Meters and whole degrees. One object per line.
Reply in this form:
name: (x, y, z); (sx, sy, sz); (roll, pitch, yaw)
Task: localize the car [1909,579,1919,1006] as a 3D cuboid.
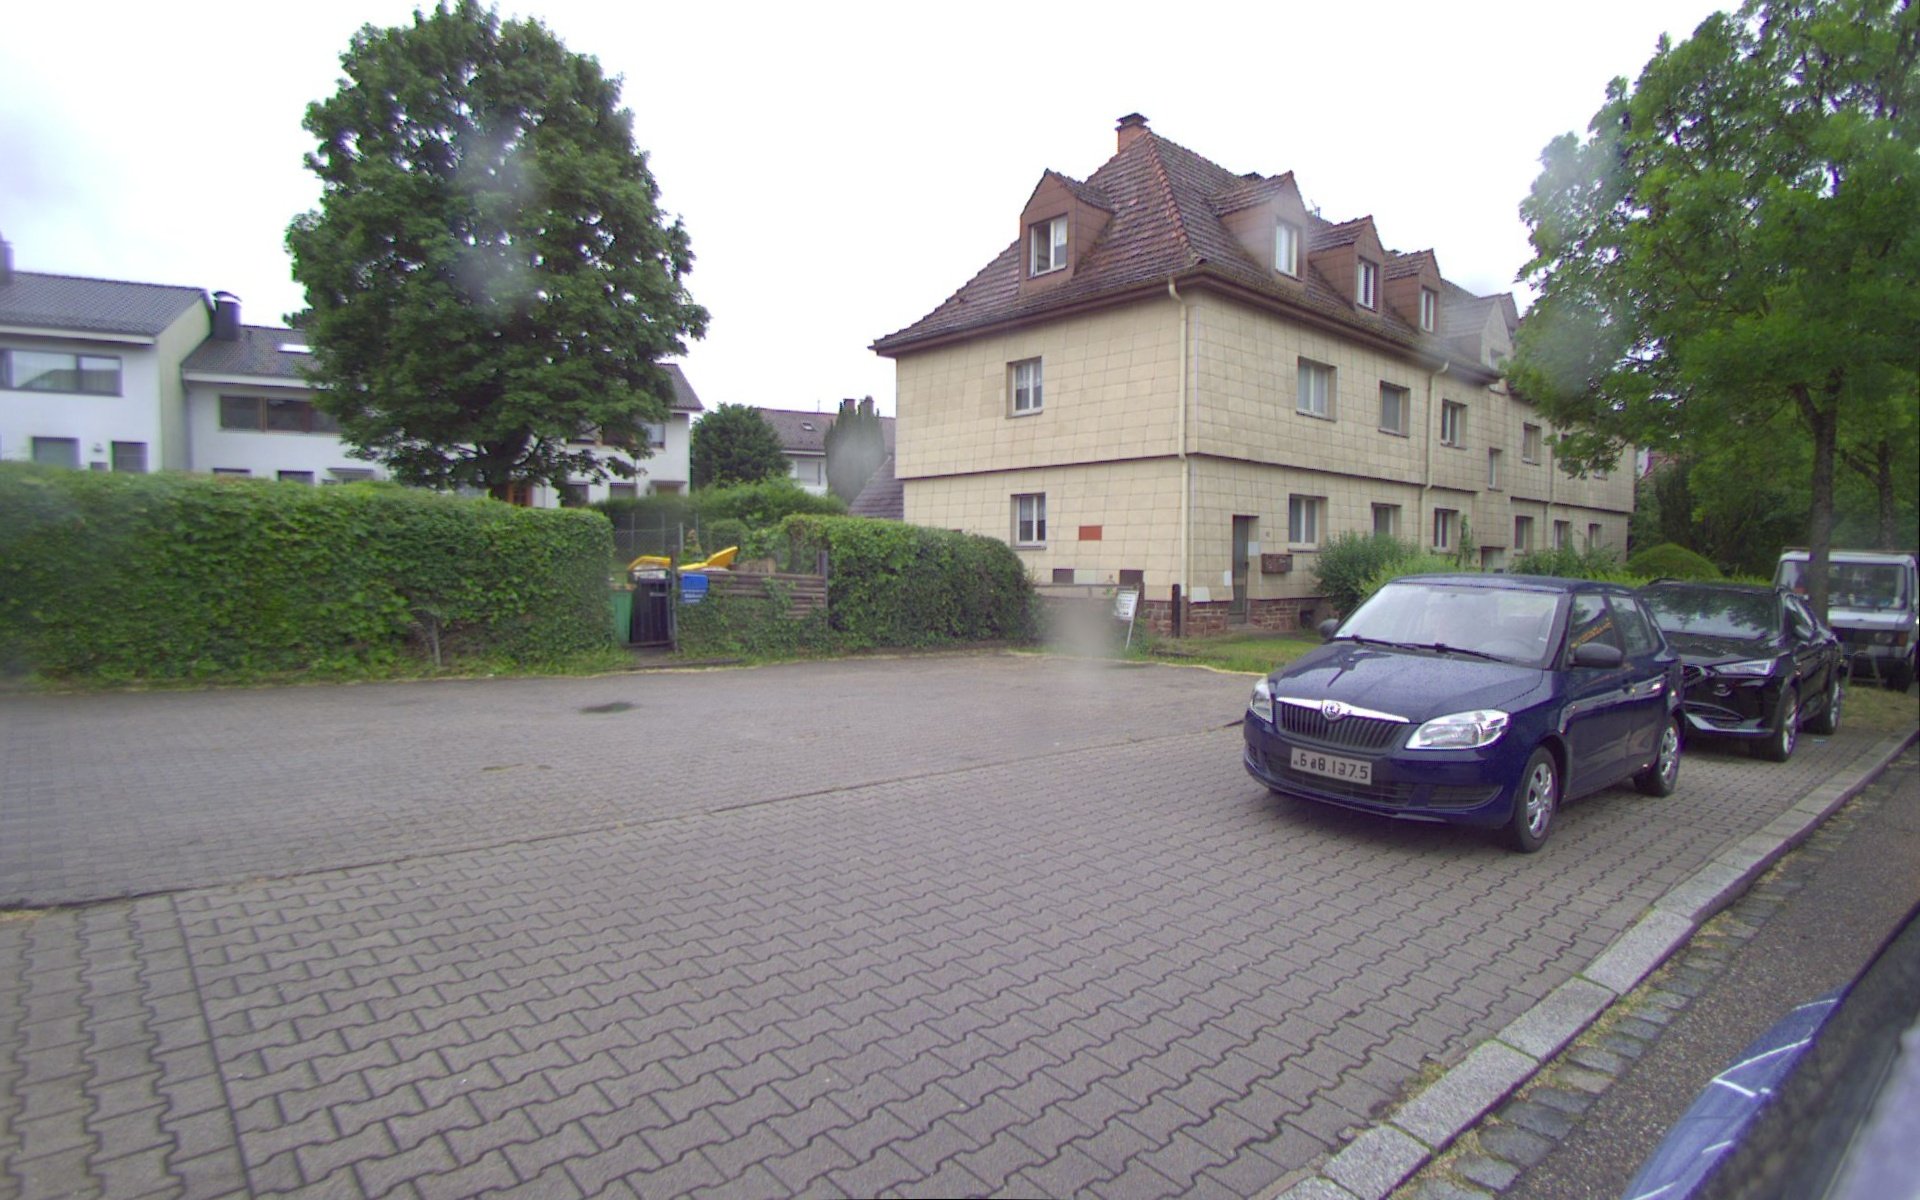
car: (5.625, 0.687, 4.301); (4.240, 1.548, 1.881); (0, -1, -41)

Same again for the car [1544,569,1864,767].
car: (7.349, 0.488, 9.853); (3.932, 1.481, 1.719); (-1, 4, -42)

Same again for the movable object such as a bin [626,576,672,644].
movable object such as a bin: (-4.461, 0.137, 14.519); (0.441, 0.954, 0.539); (0, 0, -45)

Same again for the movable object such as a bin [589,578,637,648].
movable object such as a bin: (-4.842, 0.170, 14.132); (0.441, 0.954, 0.539); (0, 0, -45)

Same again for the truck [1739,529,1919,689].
truck: (14.888, 0.095, 16.702); (5.653, 2.224, 1.998); (0, 2, -40)

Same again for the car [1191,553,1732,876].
car: (3.429, 0.481, 6.595); (3.930, 1.441, 1.719); (-1, 4, -41)
